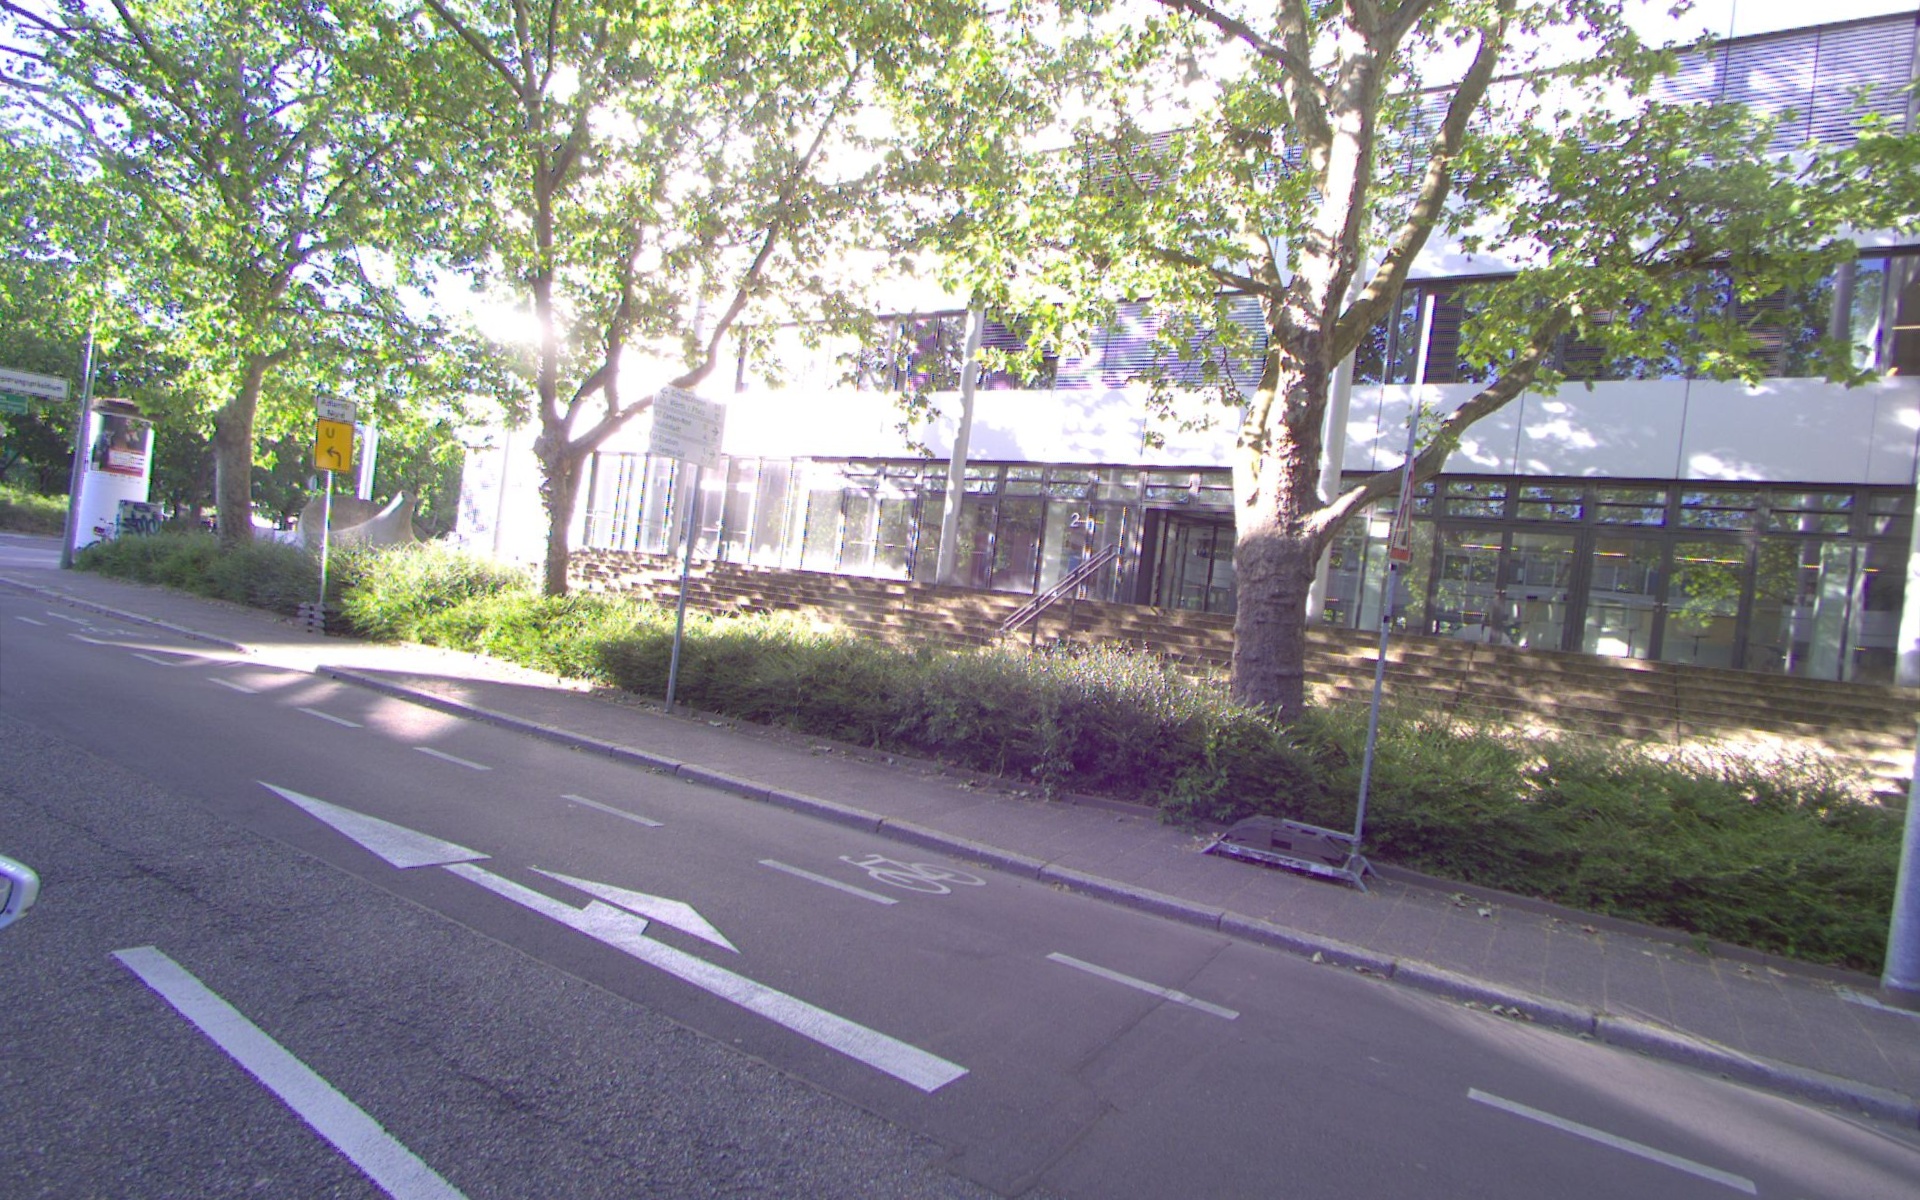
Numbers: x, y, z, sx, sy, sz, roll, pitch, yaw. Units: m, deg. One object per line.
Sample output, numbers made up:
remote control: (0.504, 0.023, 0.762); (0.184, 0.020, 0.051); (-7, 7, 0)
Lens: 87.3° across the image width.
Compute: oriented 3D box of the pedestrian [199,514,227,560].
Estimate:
pedestrian: (-31.166, -2.645, 41.965); (0.620, 1.805, 0.620); (7, 0, 34)

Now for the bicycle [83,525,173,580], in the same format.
bicycle: (-19.081, -1.081, 23.095); (0.529, 1.049, 1.418); (7, -1, 28)

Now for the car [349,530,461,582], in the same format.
car: (-25.905, -2.041, 47.029); (1.969, 1.805, 3.998); (7, -1, 37)
